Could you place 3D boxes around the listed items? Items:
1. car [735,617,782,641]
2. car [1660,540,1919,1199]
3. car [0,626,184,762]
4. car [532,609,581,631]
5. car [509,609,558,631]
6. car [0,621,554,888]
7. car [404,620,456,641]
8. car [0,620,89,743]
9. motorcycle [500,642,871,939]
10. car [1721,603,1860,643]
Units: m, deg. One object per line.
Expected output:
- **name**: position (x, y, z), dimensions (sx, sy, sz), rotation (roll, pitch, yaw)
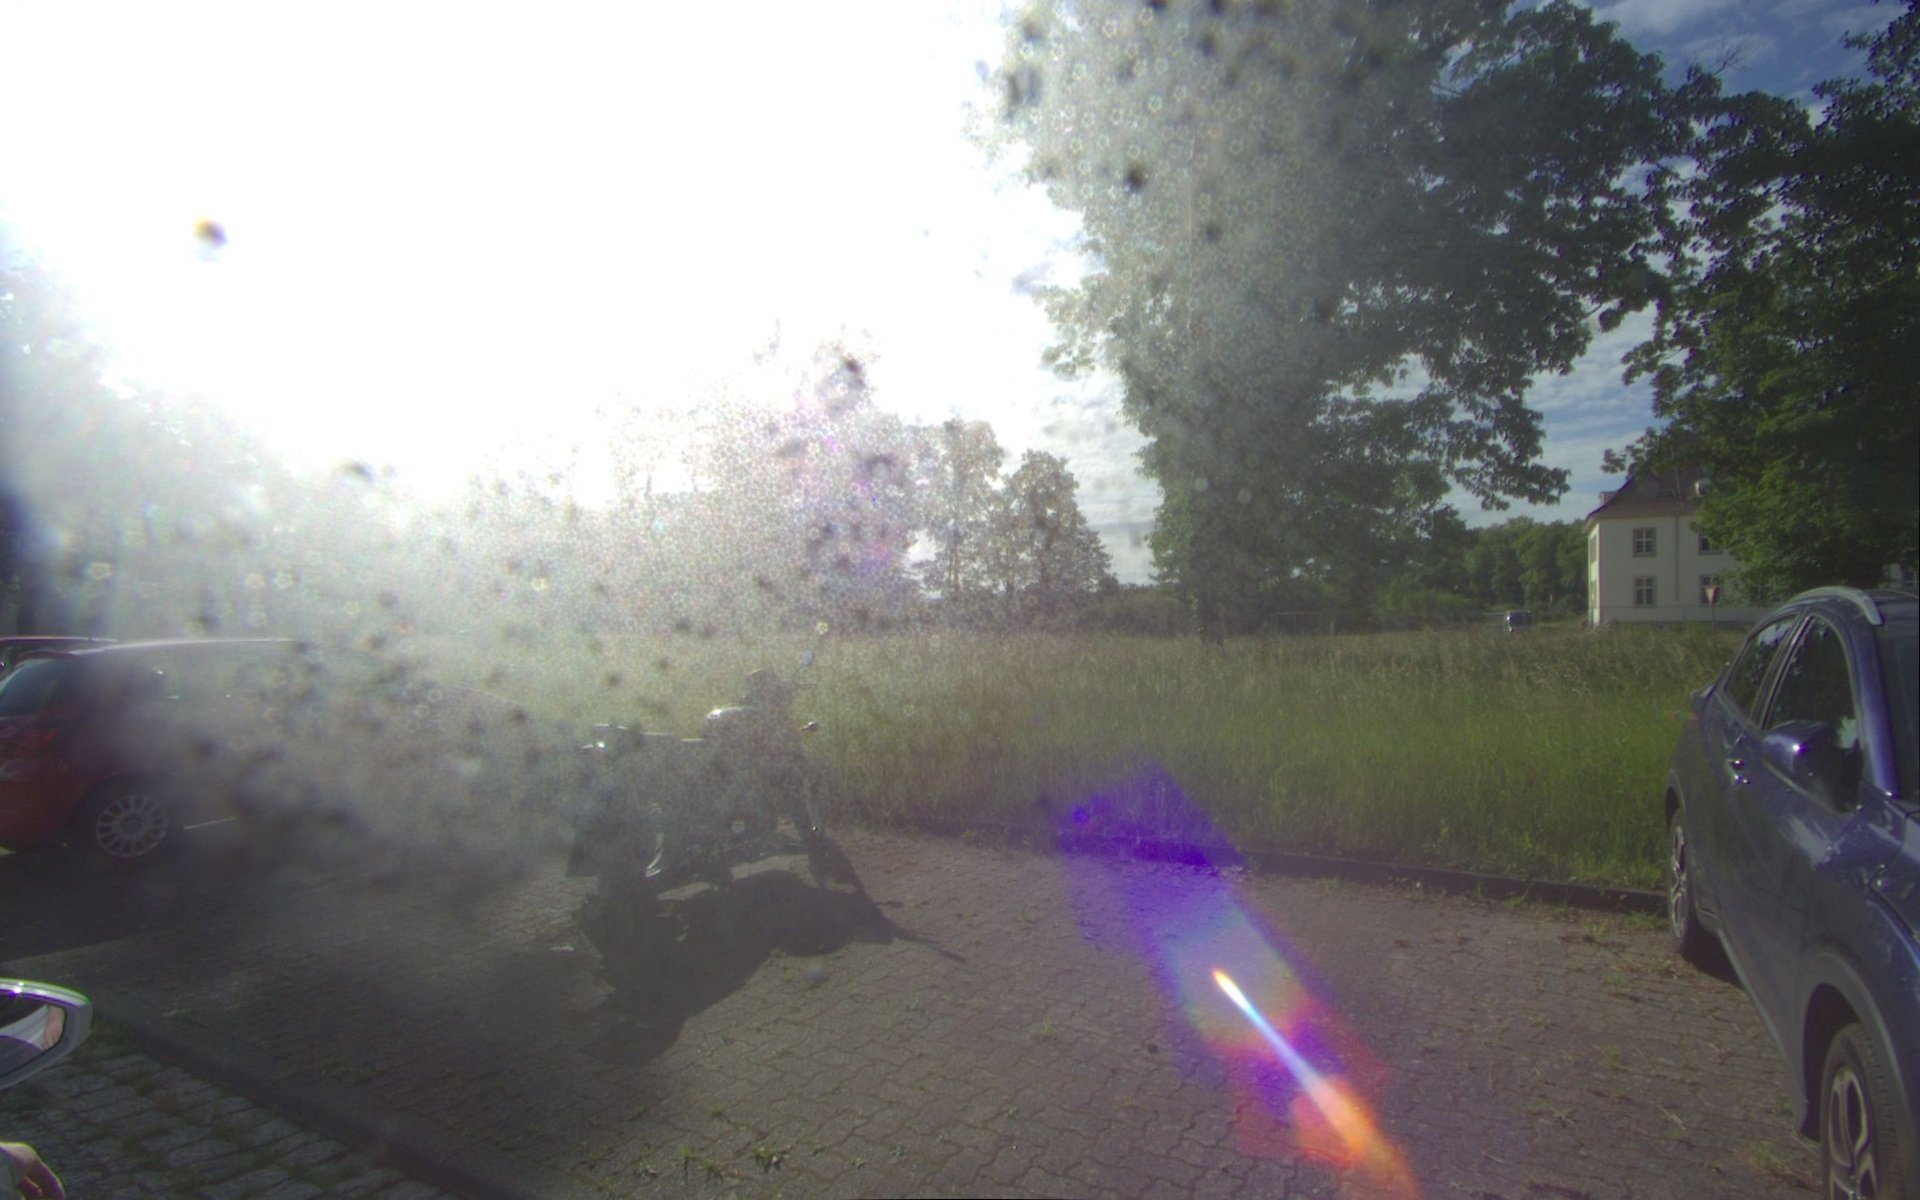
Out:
- **car**: position (-17.717, 2.514, 88.232), dimensions (1.970, 2.040, 3.982), rotation (-1, -1, 30)
- **car**: position (3.227, 0.714, 2.753), dimensions (1.725, 1.611, 4.172), rotation (-1, -1, 30)
- **car**: position (-11.768, 1.102, 11.858), dimensions (1.620, 1.550, 3.759), rotation (-1, -1, 29)
- **car**: position (-38.276, 1.905, 94.983), dimensions (1.970, 2.040, 3.982), rotation (-1, -1, 30)
- **car**: position (-40.833, 1.950, 95.907), dimensions (1.970, 2.040, 3.982), rotation (-1, -1, 30)
- **car**: position (-5.386, 0.956, 7.953), dimensions (1.621, 1.498, 3.822), rotation (-1, 0, 29)
- **car**: position (-51.218, 2.917, 96.842), dimensions (1.970, 2.040, 3.982), rotation (-1, -1, 30)
- **car**: position (-14.149, 1.093, 13.005), dimensions (1.745, 1.642, 3.932), rotation (-1, -1, 29)
- **motorcycle**: position (-1.485, 0.960, 5.973), dimensions (0.715, 1.337, 2.296), rotation (-1, 0, 30)
- **car**: position (49.231, 1.419, 59.529), dimensions (2.347, 2.199, 5.972), rotation (0, -2, -37)
